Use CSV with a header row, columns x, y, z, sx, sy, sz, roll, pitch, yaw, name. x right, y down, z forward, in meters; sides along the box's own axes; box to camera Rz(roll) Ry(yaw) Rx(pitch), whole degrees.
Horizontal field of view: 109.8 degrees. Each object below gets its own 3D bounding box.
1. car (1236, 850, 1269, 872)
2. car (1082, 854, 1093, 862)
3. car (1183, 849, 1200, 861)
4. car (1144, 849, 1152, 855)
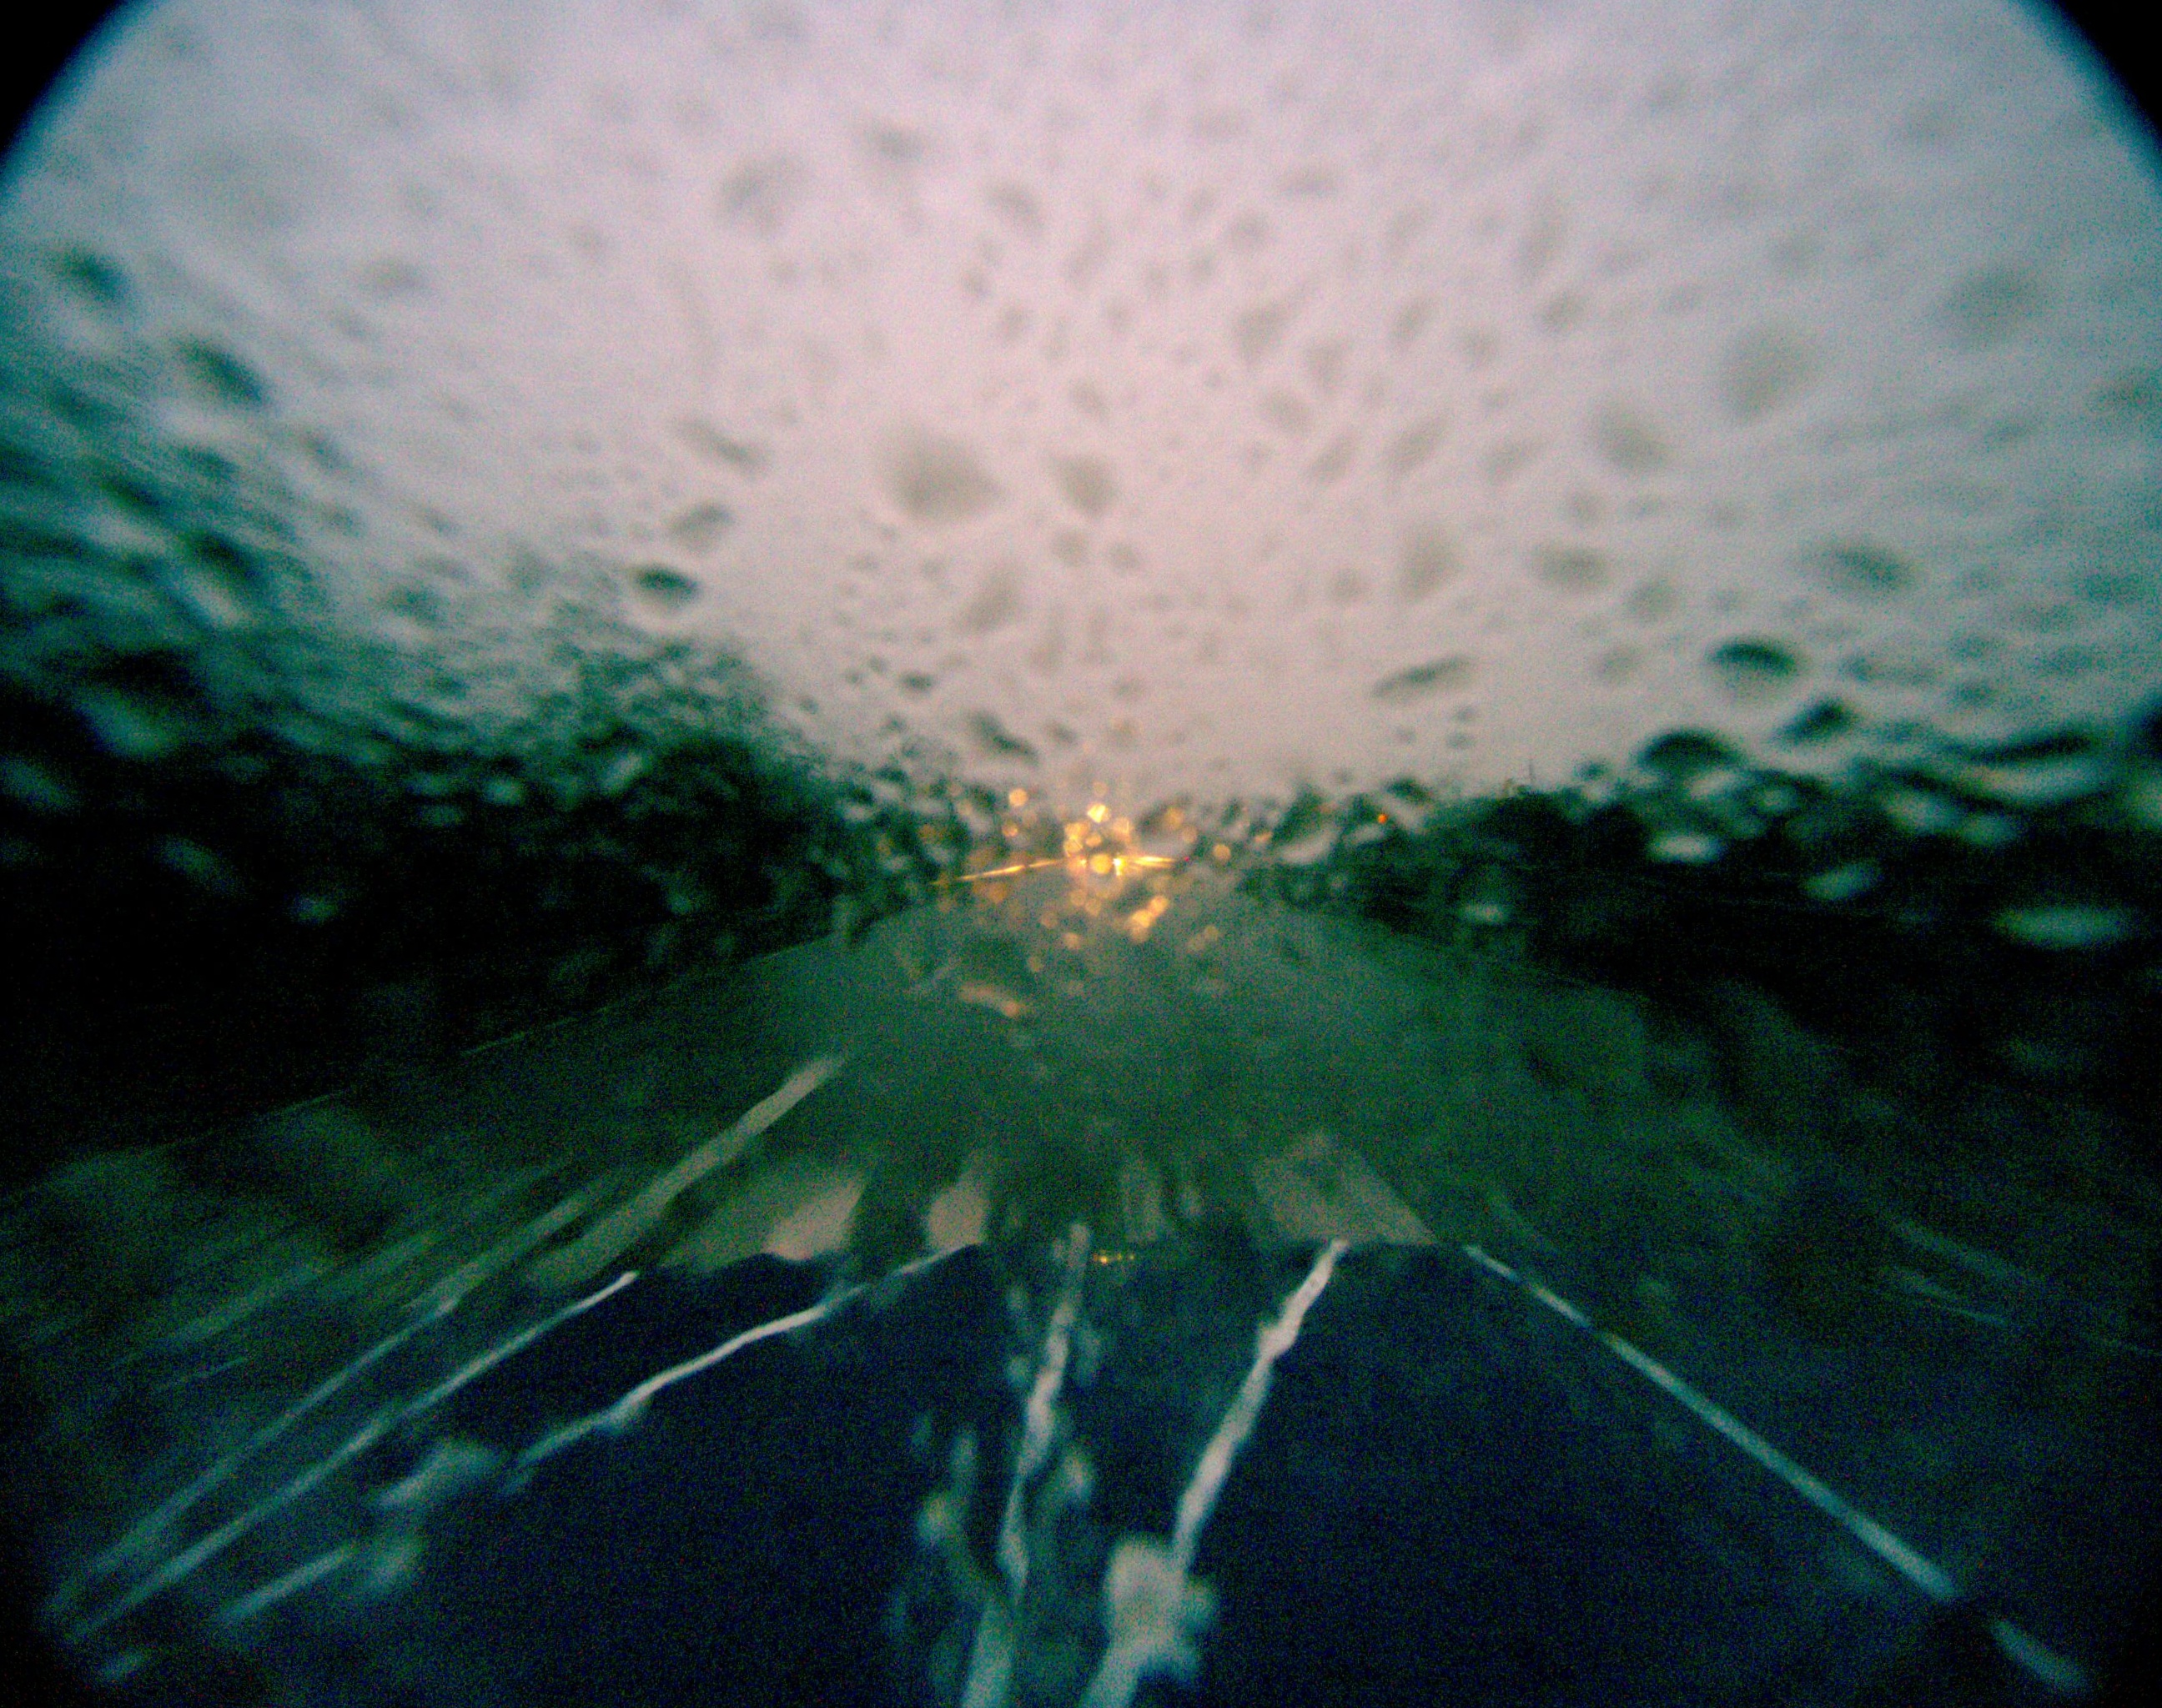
x,y,z,sx,sy,sz,roll,pitch,yaw,name
13.423,0.547,59.790,1.745,1.630,4.000,-1,0,1,car
1.197,0.678,136.924,1.682,1.401,3.775,-2,1,3,car
15.421,0.156,106.132,1.745,1.630,4.000,-1,0,1,car
18.853,-0.599,214.127,1.741,1.499,4.000,-3,1,2,car
